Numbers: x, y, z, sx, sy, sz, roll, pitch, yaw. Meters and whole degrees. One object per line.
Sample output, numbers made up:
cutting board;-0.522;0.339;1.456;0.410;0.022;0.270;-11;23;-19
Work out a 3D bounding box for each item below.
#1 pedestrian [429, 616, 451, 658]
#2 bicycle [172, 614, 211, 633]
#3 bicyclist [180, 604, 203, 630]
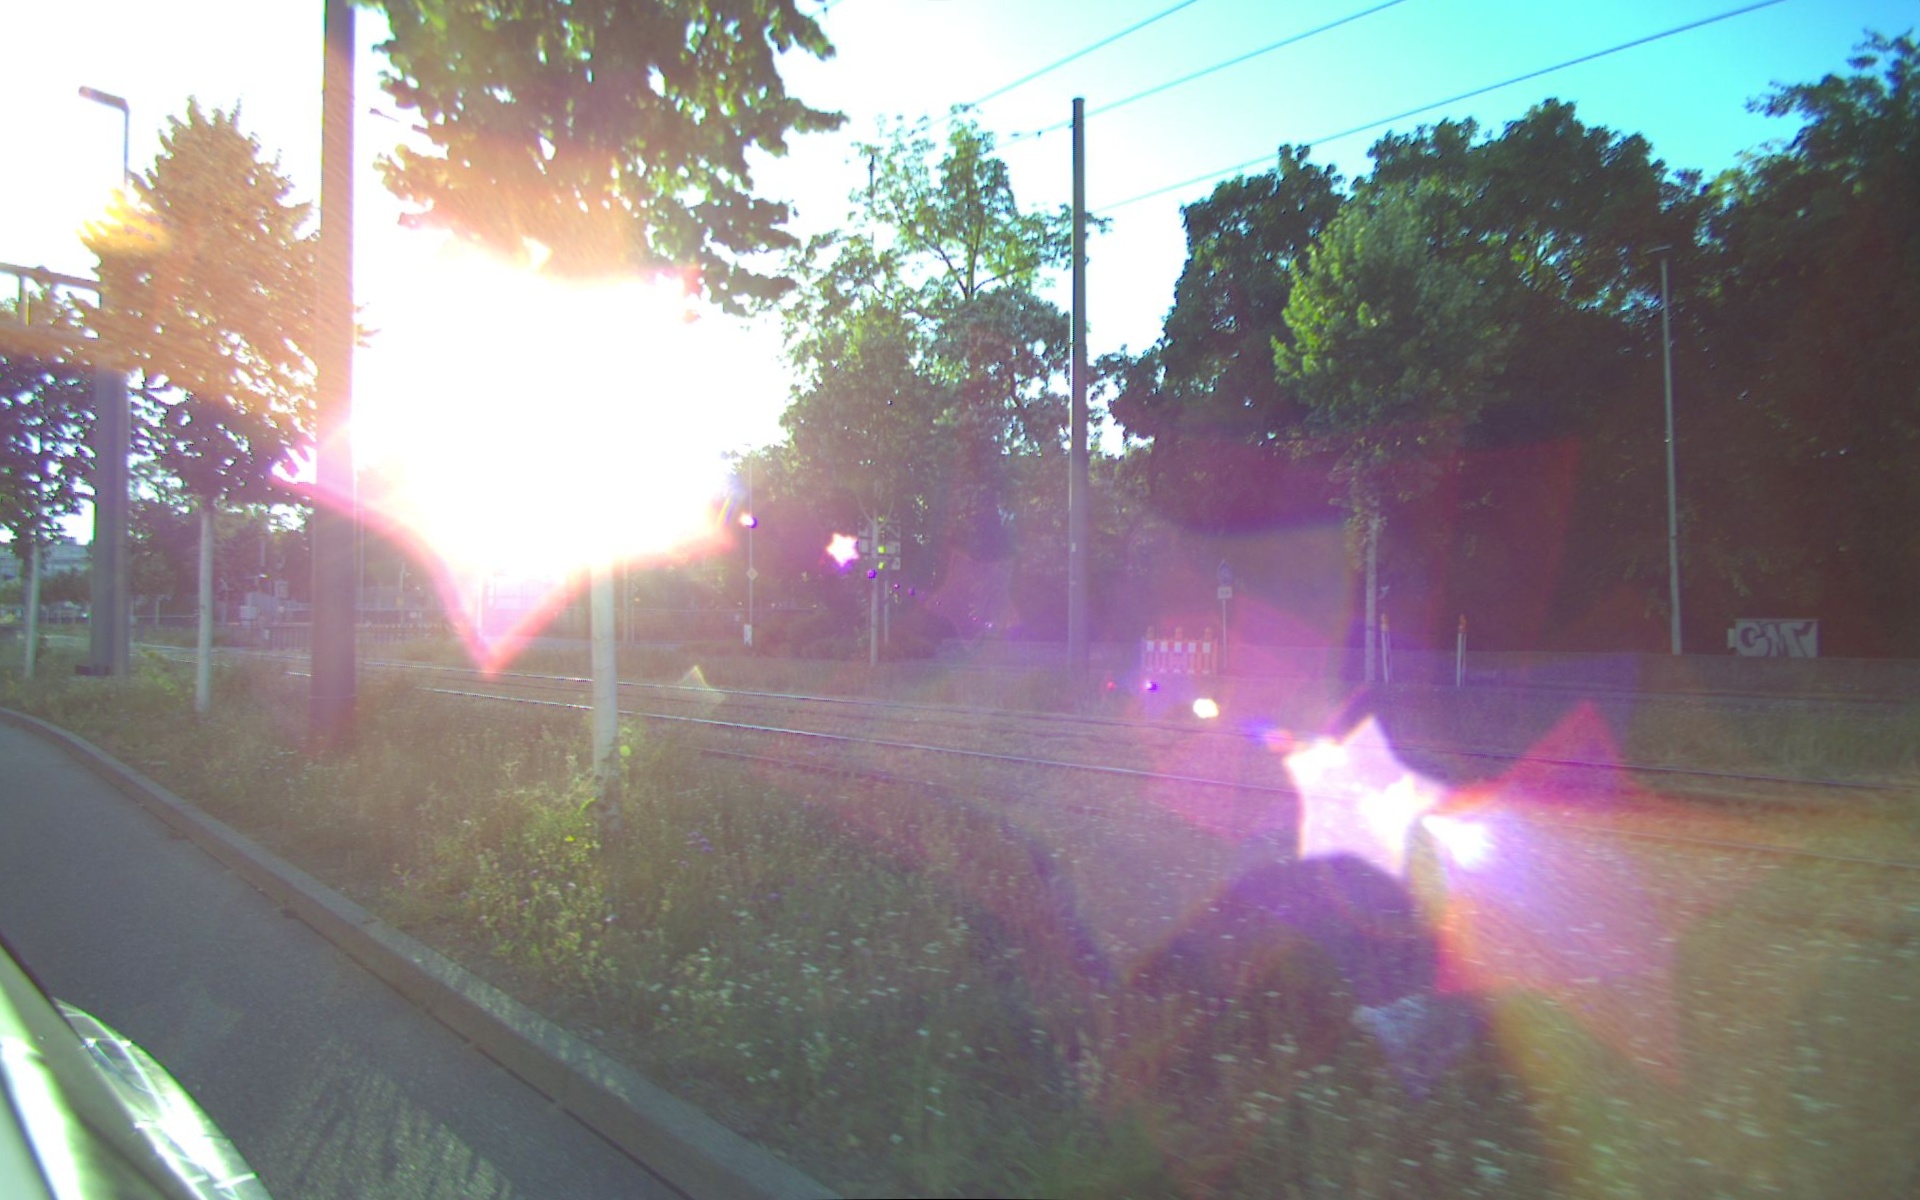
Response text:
pedestrian;-20.832;1.500;40.559;0.660;1.620;0.679;-2;-4;-33
bicycle;-49.173;1.497;64.786;1.865;1.142;0.719;-2;0;-20
bicyclist;-49.186;1.085;64.785;0.928;1.633;0.719;-2;0;-20
